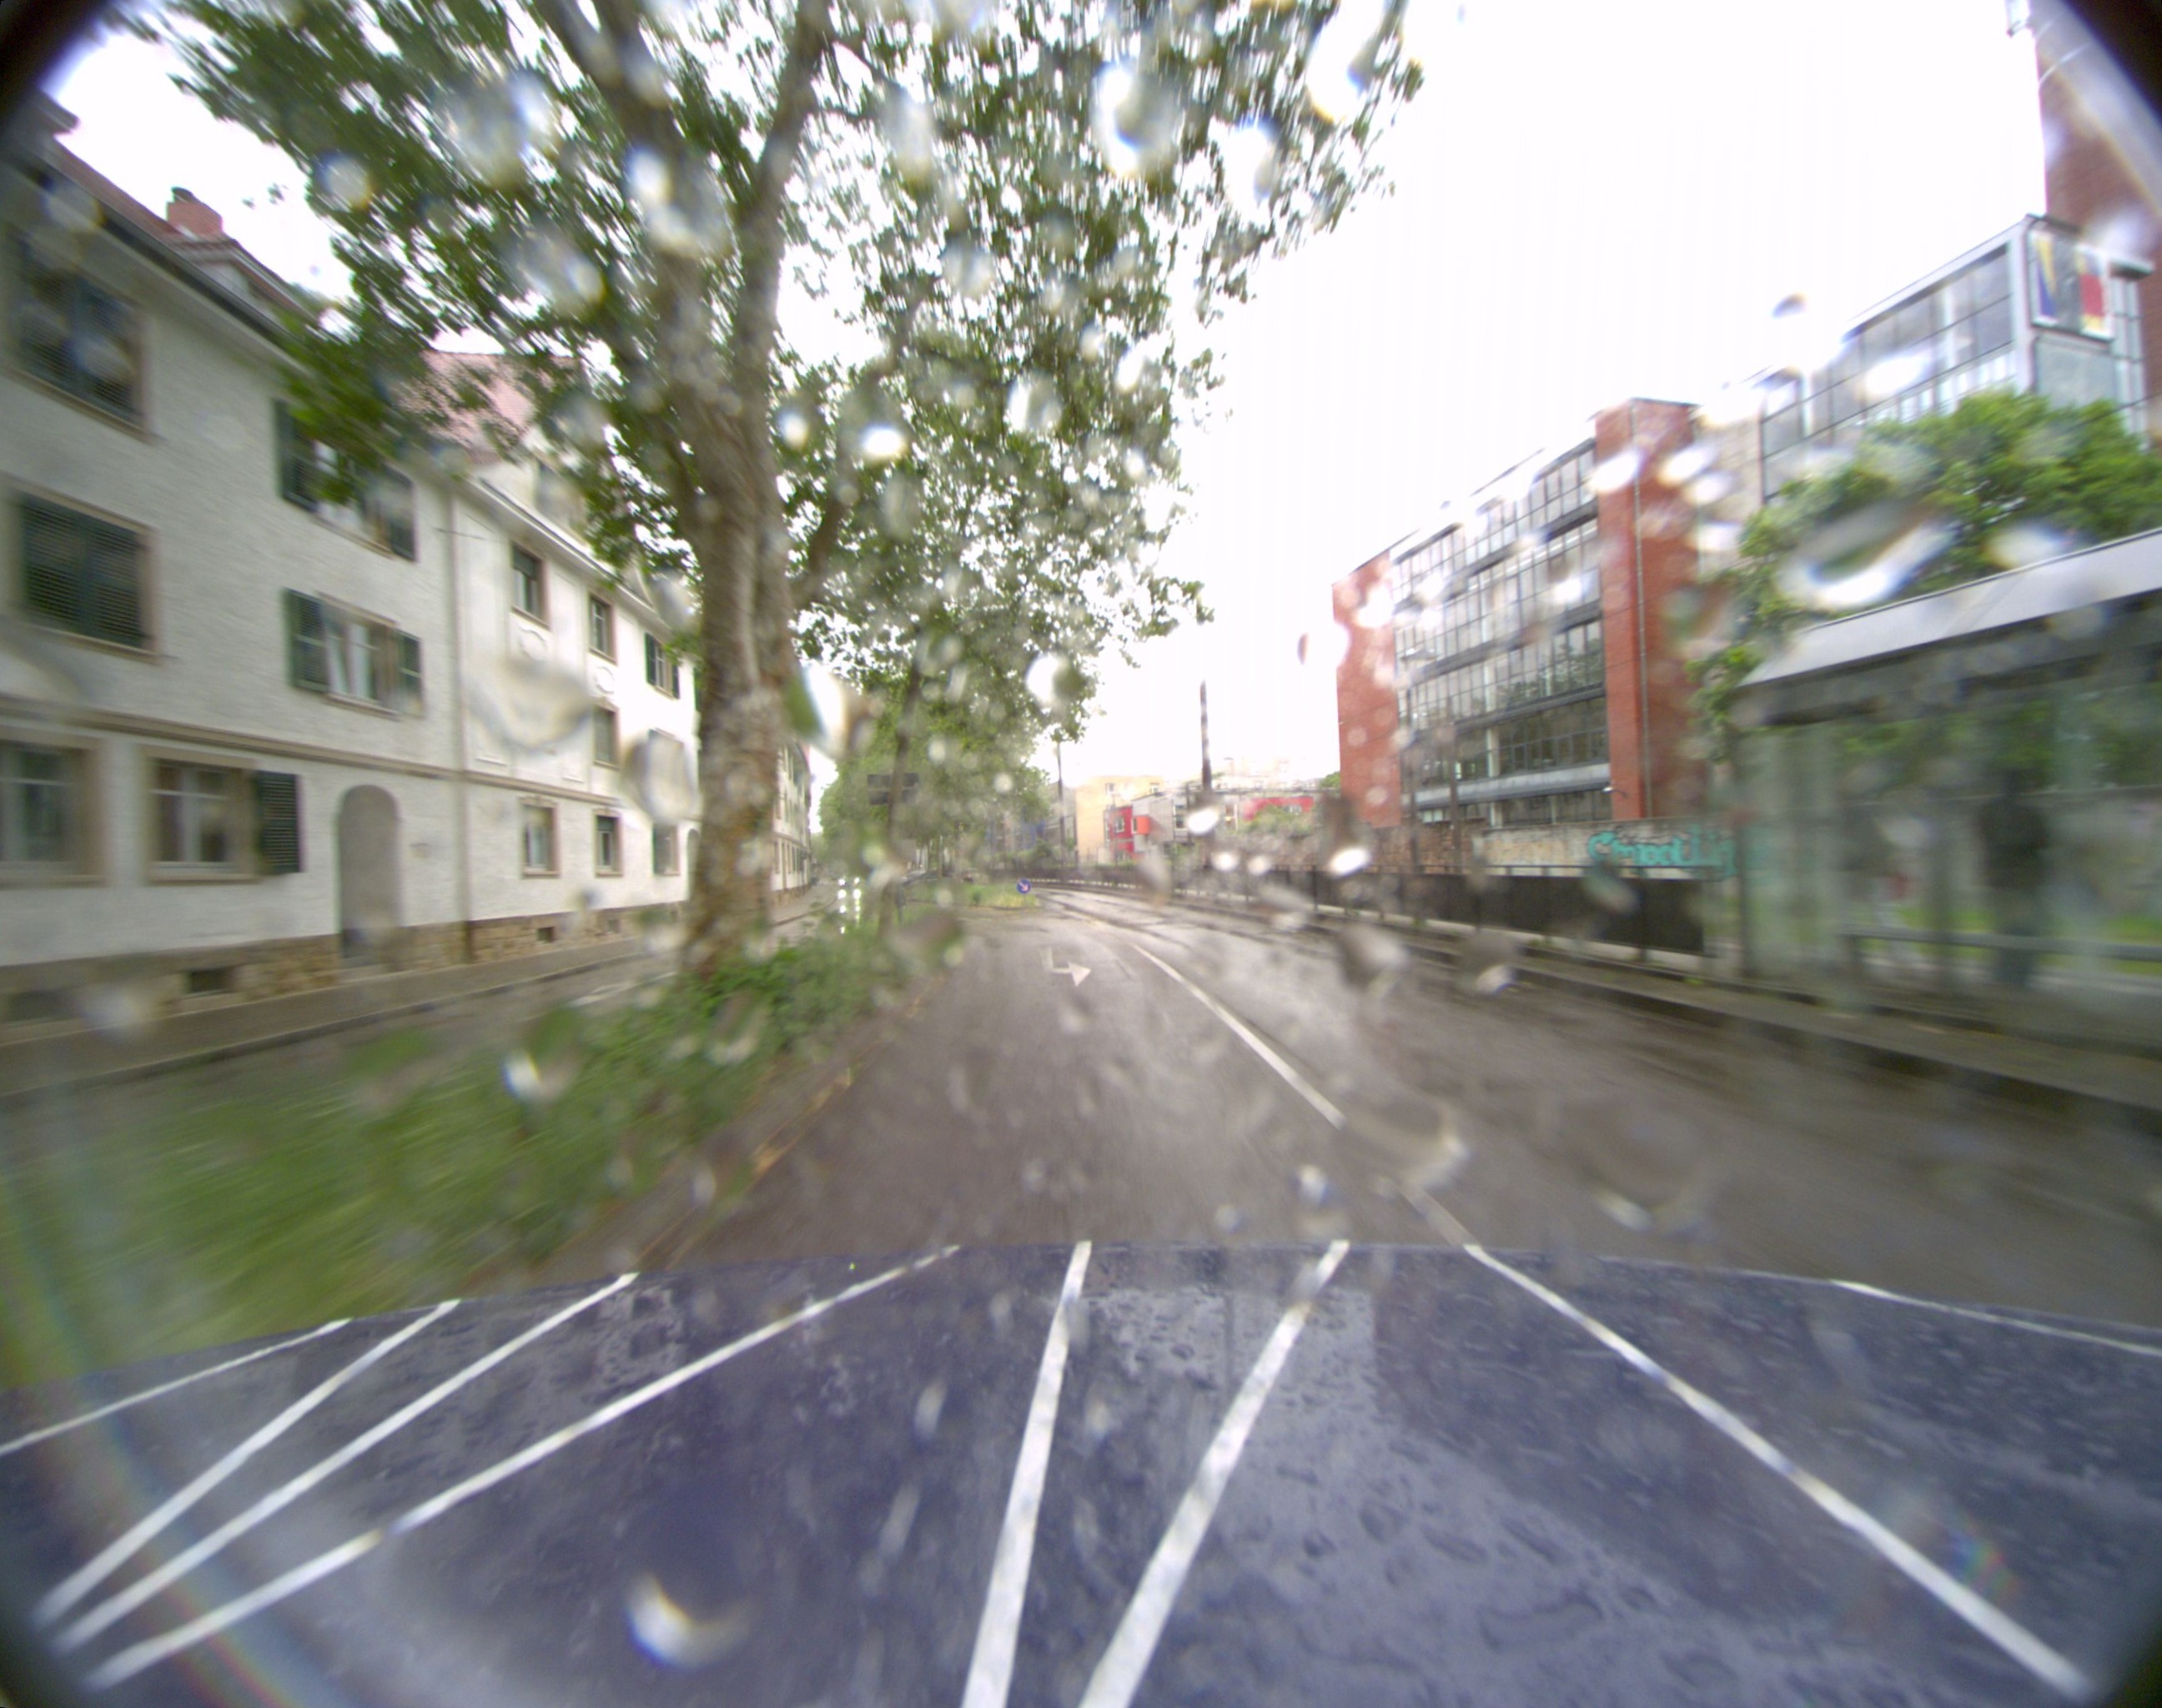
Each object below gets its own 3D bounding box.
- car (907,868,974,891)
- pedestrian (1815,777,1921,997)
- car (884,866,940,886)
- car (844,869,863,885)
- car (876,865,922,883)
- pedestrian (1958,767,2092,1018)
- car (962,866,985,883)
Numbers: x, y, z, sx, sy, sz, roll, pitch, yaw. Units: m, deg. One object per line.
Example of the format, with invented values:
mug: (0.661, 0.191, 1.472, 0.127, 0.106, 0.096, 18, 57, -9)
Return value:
car: (-10.013, 1.806, 54.189, 4.224, 1.532, 1.933, -1, 0, 11)
pedestrian: (6.578, 0.261, 6.350, 0.584, 1.721, 0.567, -1, 0, -41)
car: (-14.540, 1.868, 65.520, 4.328, 1.603, 1.749, -1, 0, 7)
car: (-25.314, 2.552, 84.565, 1.853, 1.586, 4.210, -2, 0, -17)
car: (-21.563, 2.378, 89.923, 4.884, 2.002, 2.002, -1, 0, 11)
pedestrian: (6.922, 0.266, 5.600, 0.584, 1.721, 0.566, -1, 0, -43)
car: (-11.566, 2.179, 81.902, 1.694, 1.713, 3.686, -1, 0, -20)
